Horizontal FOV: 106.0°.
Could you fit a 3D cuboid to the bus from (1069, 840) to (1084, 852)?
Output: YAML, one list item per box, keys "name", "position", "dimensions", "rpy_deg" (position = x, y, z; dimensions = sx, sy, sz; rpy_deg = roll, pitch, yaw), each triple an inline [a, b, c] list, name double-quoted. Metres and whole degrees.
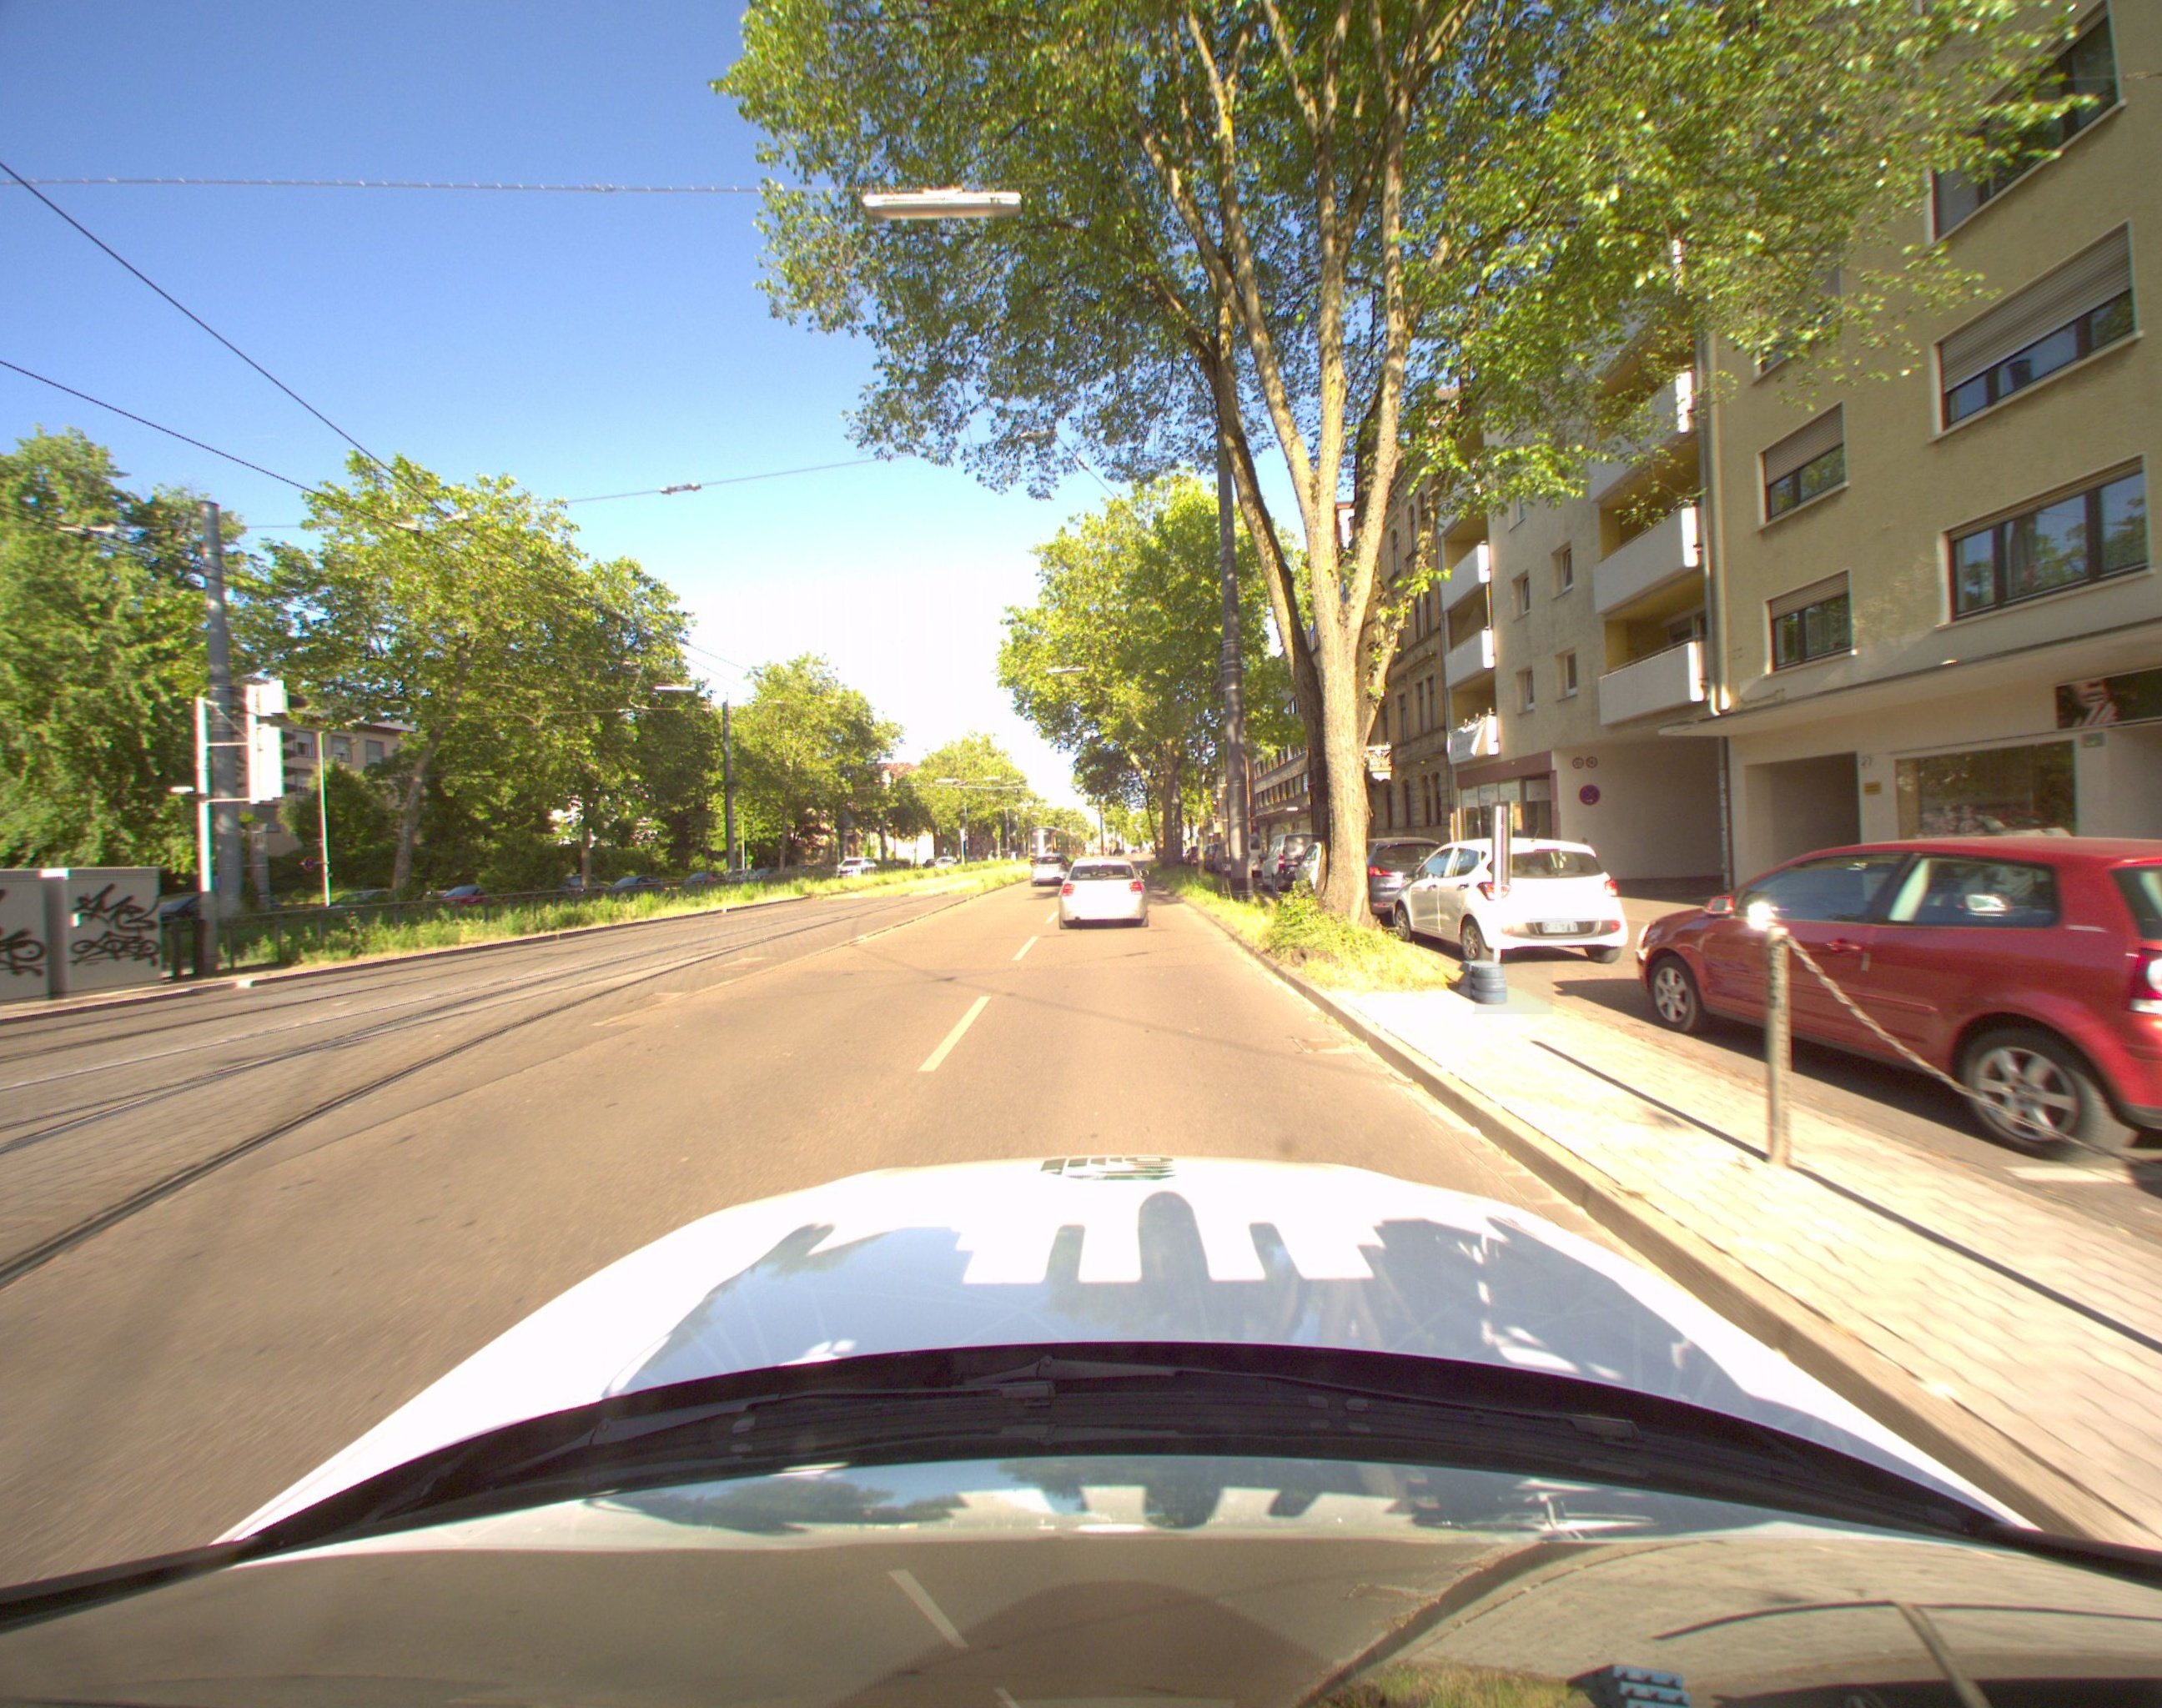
- name: "bus"
  position: [-1.300, -2.601, 254.869]
  dimensions: [2.856, 3.628, 24.632]
  rpy_deg: [-2, 1, 4]

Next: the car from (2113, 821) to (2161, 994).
- name: "car"
  position: [10.193, 0.458, 5.375]
  dimensions: [1.687, 1.480, 4.001]
  rpy_deg: [-5, 1, 1]

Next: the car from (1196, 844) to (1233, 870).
- name: "car"
  position: [7.945, 0.139, 48.900]
  dimensions: [1.670, 1.466, 4.673]
  rpy_deg: [0, 1, 3]

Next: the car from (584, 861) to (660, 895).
- name: "car"
  position: [-25.447, 1.300, 45.305]
  dimensions: [1.814, 1.683, 4.003]
  rpy_deg: [0, 1, 2]

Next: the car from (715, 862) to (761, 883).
- name: "car"
  position: [-23.952, 1.291, 57.014]
  dimensions: [1.561, 1.312, 3.508]
  rpy_deg: [0, 1, 4]

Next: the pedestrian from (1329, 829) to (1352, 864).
- name: "pedestrian"
  position: [13.819, -0.387, 43.430]
  dimensions: [0.995, 1.840, 0.716]
  rpy_deg: [-2, 0, 5]

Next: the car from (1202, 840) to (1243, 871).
- name: "car"
  position: [7.294, 0.035, 42.300]
  dimensions: [1.697, 1.502, 4.363]
  rpy_deg: [0, 1, 4]

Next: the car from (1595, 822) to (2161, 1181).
- name: "car"
  position: [5.188, 0.537, 5.160]
  dimensions: [1.582, 1.434, 3.909]
  rpy_deg: [0, 1, 3]

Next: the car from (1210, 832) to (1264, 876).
- name: "car"
  position: [6.894, -0.043, 36.337]
  dimensions: [1.856, 1.815, 4.806]
  rpy_deg: [0, 1, 5]

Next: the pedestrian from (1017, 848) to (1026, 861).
- name: "pedestrian"
  position: [-8.042, 0.050, 110.552]
  dimensions: [1.174, 1.643, 0.891]
  rpy_deg: [-2, 0, -4]

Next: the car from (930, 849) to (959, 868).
- name: "car"
  position: [-12.105, 0.403, 72.595]
  dimensions: [1.838, 1.530, 3.876]
  rpy_deg: [0, 1, 2]

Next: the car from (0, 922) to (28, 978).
- name: "car"
  position: [-25.540, 2.234, 17.071]
  dimensions: [1.588, 1.223, 4.028]
  rpy_deg: [0, 0, 3]

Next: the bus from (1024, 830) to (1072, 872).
- name: "bus"
  position: [-2.827, -0.285, 75.174]
  dimensions: [2.856, 3.444, 13.232]
  rpy_deg: [-2, 0, 4]

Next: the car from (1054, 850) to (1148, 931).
- name: "car"
  position: [0.483, 0.682, 17.385]
  dimensions: [1.755, 1.432, 4.004]
  rpy_deg: [0, 1, 3]

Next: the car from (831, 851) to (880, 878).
- name: "car"
  position: [-15.352, 0.676, 55.767]
  dimensions: [1.878, 1.619, 4.602]
  rpy_deg: [0, 1, 3]

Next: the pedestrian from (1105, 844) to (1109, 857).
- name: "pedestrian"
  position: [3.715, -0.462, 117.693]
  dimensions: [0.449, 1.902, 0.584]
  rpy_deg: [-2, 0, -3]

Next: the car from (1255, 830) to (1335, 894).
- name: "car"
  position: [6.049, 0.164, 23.432]
  dimensions: [1.617, 1.668, 4.149]
  rpy_deg: [0, 1, 6]

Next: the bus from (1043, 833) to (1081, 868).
- name: "bus"
  position: [-1.947, -0.426, 87.825]
  dimensions: [2.856, 3.444, 12.228]
  rpy_deg: [-2, 0, 4]

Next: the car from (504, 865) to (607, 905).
- name: "car"
  position: [-25.578, 1.466, 39.862]
  dimensions: [1.986, 1.683, 4.515]
  rpy_deg: [0, 1, 1]

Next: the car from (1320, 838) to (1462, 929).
- name: "car"
  position: [5.649, 0.450, 15.289]
  dimensions: [1.554, 1.485, 3.793]
  rpy_deg: [0, 1, 5]

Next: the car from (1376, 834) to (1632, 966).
- name: "car"
  position: [5.397, 0.470, 10.963]
  dimensions: [1.620, 1.476, 3.699]
  rpy_deg: [0, 1, 1]

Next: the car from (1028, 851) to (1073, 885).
- name: "car"
  position: [-1.325, 0.605, 36.826]
  dimensions: [1.639, 1.362, 3.764]
  rpy_deg: [0, 1, 4]

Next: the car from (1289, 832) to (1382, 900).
- name: "car"
  position: [6.005, 0.224, 19.543]
  dimensions: [1.504, 1.480, 3.499]
  rpy_deg: [0, 1, 7]

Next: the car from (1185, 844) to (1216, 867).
- name: "car"
  position: [8.105, 0.075, 55.391]
  dimensions: [1.797, 1.489, 4.926]
  rpy_deg: [0, 1, 5]

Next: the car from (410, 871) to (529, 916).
- name: "car"
  position: [-25.950, 1.626, 34.760]
  dimensions: [1.986, 1.622, 4.002]
  rpy_deg: [0, 1, 1]
